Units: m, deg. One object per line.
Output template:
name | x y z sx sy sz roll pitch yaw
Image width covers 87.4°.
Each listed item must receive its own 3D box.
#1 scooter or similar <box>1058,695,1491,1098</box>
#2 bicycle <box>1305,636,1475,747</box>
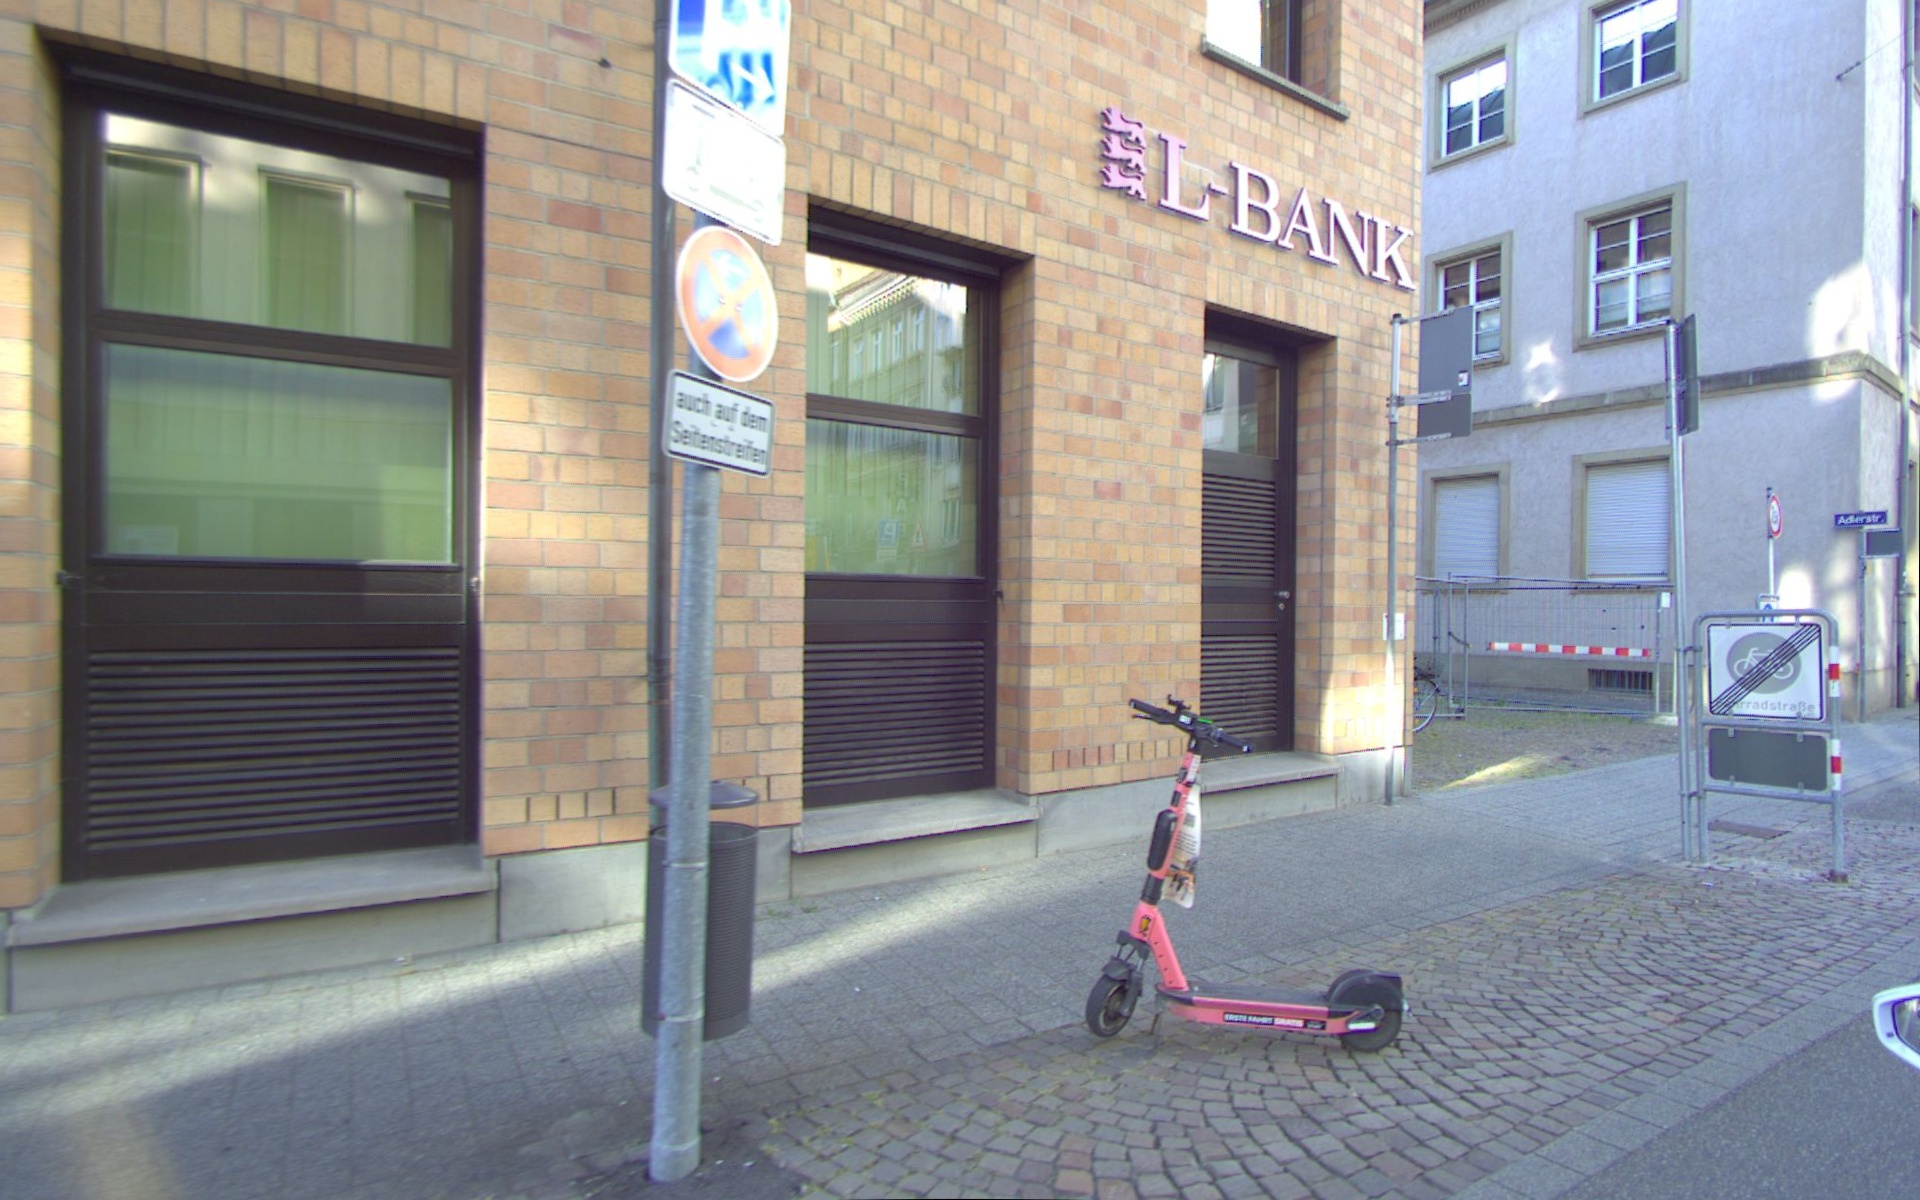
scooter or similar | 1.068 0.989 3.622 1.331 1.233 0.700 0 -1 -4
bicycle | 5.114 1.053 11.985 1.745 1.217 0.808 1 1 -17
